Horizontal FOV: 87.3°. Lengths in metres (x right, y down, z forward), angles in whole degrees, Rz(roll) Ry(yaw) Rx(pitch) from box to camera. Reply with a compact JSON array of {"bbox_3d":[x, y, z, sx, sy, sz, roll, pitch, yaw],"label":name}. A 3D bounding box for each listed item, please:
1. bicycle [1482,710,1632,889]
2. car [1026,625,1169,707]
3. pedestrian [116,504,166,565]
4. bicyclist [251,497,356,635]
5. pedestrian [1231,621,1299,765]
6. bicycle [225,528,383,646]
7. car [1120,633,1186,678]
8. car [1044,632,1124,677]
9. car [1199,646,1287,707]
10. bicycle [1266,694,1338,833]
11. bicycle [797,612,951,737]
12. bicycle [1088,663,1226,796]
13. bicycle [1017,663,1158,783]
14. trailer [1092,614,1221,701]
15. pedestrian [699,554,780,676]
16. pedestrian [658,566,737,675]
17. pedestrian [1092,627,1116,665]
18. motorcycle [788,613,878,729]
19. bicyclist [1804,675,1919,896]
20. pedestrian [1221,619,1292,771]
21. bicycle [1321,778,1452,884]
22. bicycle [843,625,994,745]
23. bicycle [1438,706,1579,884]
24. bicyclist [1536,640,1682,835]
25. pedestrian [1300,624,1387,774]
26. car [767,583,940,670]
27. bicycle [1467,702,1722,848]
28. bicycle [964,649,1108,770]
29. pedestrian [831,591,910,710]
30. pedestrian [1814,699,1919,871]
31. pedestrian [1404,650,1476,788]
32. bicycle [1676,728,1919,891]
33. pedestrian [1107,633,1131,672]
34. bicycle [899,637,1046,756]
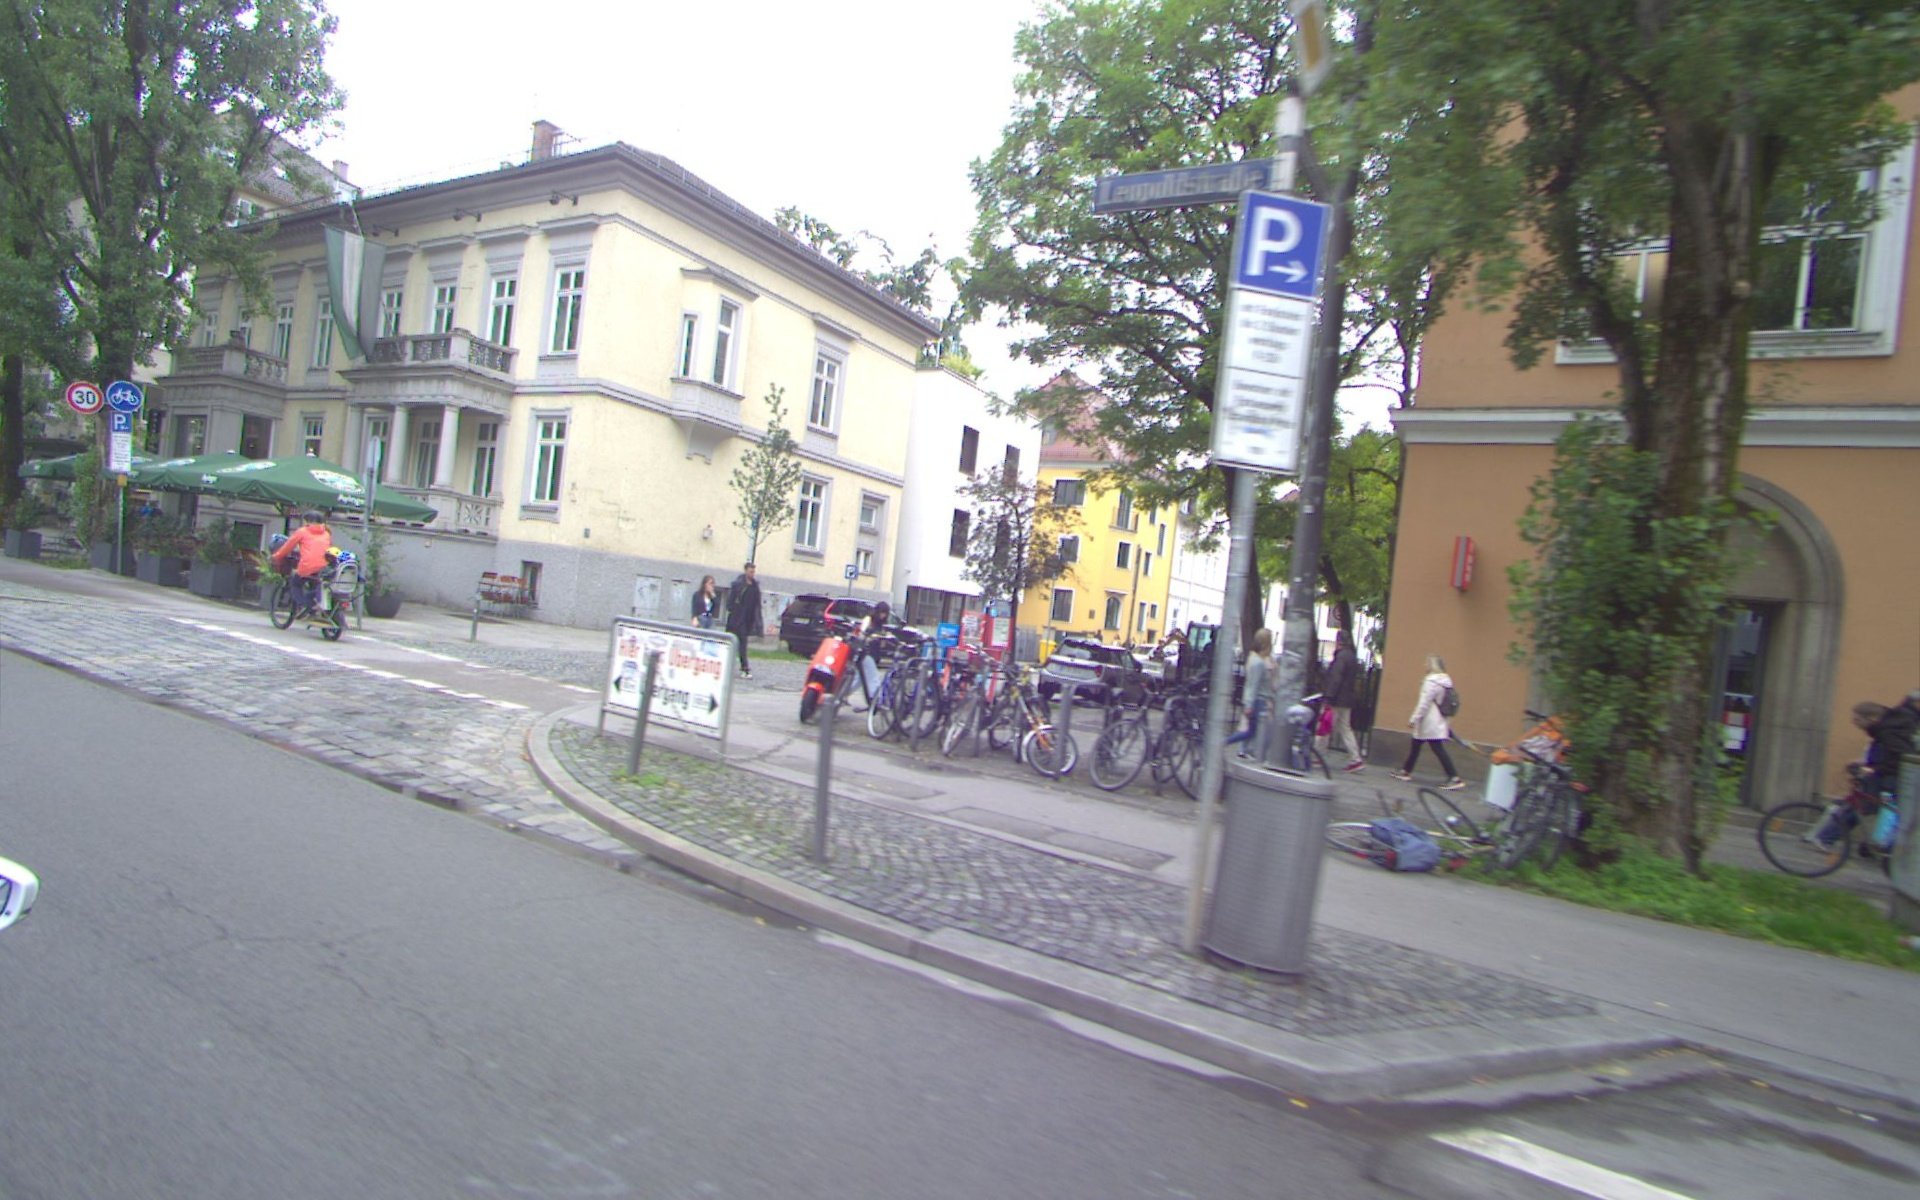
[{"bbox_3d":[4.591,1.485,7.842,0.316,1.097,1.609,7,0,9],"label":"bicycle"},{"bbox_3d":[3.341,1.617,23.821,1.874,1.537,3.997,6,-3,30],"label":"car"},{"bbox_3d":[-24.685,-1.974,30.319,0.862,1.698,0.798,7,0,31],"label":"pedestrian"},{"bbox_3d":[-9.158,-0.466,14.040,0.870,1.788,0.768,7,0,31],"label":"bicyclist"},{"bbox_3d":[3.869,1.172,12.749,0.564,1.713,0.635,7,-1,25],"label":"pedestrian"},{"bbox_3d":[-9.184,-0.202,14.039,2.408,1.365,0.773,7,0,31],"label":"bicycle"},{"bbox_3d":[8.818,2.571,45.766,1.672,1.706,3.997,6,-2,28],"label":"car"},{"bbox_3d":[4.936,2.159,39.551,1.672,1.416,3.997,6,-2,28],"label":"car"},{"bbox_3d":[9.629,2.622,34.052,1.965,1.703,3.999,6,-2,27],"label":"car"},{"bbox_3d":[2.995,1.365,8.737,0.336,1.022,1.602,7,0,24],"label":"bicycle"},{"bbox_3d":[-0.924,0.850,11.392,0.551,1.254,1.943,7,0,32],"label":"bicycle"},{"bbox_3d":[1.962,1.219,9.764,0.551,1.097,1.943,7,0,32],"label":"bicycle"},{"bbox_3d":[1.332,1.208,10.151,0.551,1.022,1.943,7,-1,32],"label":"bicycle"},{"bbox_3d":[5.809,1.743,29.091,1.874,2.052,5.250,7,-1,30],"label":"trailer"},{"bbox_3d":[-3.824,0.272,17.493,0.787,1.971,0.840,7,-1,25],"label":"pedestrian"},{"bbox_3d":[-4.326,0.343,16.589,0.758,1.680,0.745,6,-1,31],"label":"pedestrian"},{"bbox_3d":[7.194,2.310,50.190,0.752,1.814,0.873,7,0,26],"label":"pedestrian"},{"bbox_3d":[-1.495,0.813,12.170,0.505,1.236,1.961,7,0,6],"label":"motorcycle"},{"bbox_3d":[7.924,1.557,8.538,0.730,1.708,0.746,7,0,-18],"label":"bicyclist"},{"bbox_3d":[3.584,1.136,12.133,0.564,1.713,0.619,7,-1,23],"label":"pedestrian"},{"bbox_3d":[3.318,1.755,7.845,0.816,0.378,1.676,7,0,23],"label":"bicycle"},{"bbox_3d":[-0.406,0.930,11.035,0.551,1.151,1.943,7,0,32],"label":"bicycle"},{"bbox_3d":[4.234,1.454,7.873,0.335,1.097,1.604,7,0,9],"label":"bicycle"},{"bbox_3d":[6.458,1.339,10.042,0.657,1.779,0.828,7,0,-15],"label":"bicyclist"},{"bbox_3d":[4.936,1.267,12.927,0.720,1.786,0.698,6,-1,34],"label":"pedestrian"},{"bbox_3d":[-2.697,0.747,26.467,1.940,1.721,4.420,6,-3,35],"label":"car"},{"bbox_3d":[6.288,1.728,10.007,2.069,1.133,0.885,7,0,-15],"label":"bicycle"},{"bbox_3d":[0.835,1.117,10.466,0.551,1.089,1.943,7,0,32],"label":"bicycle"},{"bbox_3d":[-1.275,0.724,14.331,0.605,1.589,0.745,6,-1,34],"label":"pedestrian"},{"bbox_3d":[9.293,1.848,10.254,0.653,1.589,0.745,6,-1,32],"label":"pedestrian"},{"bbox_3d":[5.977,1.472,12.510,0.565,1.589,0.698,6,-1,34],"label":"pedestrian"},{"bbox_3d":[7.858,1.895,9.101,2.062,1.134,0.738,7,0,4],"label":"bicycle"},{"bbox_3d":[7.909,2.631,50.098,0.752,1.814,0.873,7,0,26],"label":"pedestrian"},{"bbox_3d":[0.183,1.027,10.789,0.551,1.102,1.943,7,0,32],"label":"bicycle"}]
